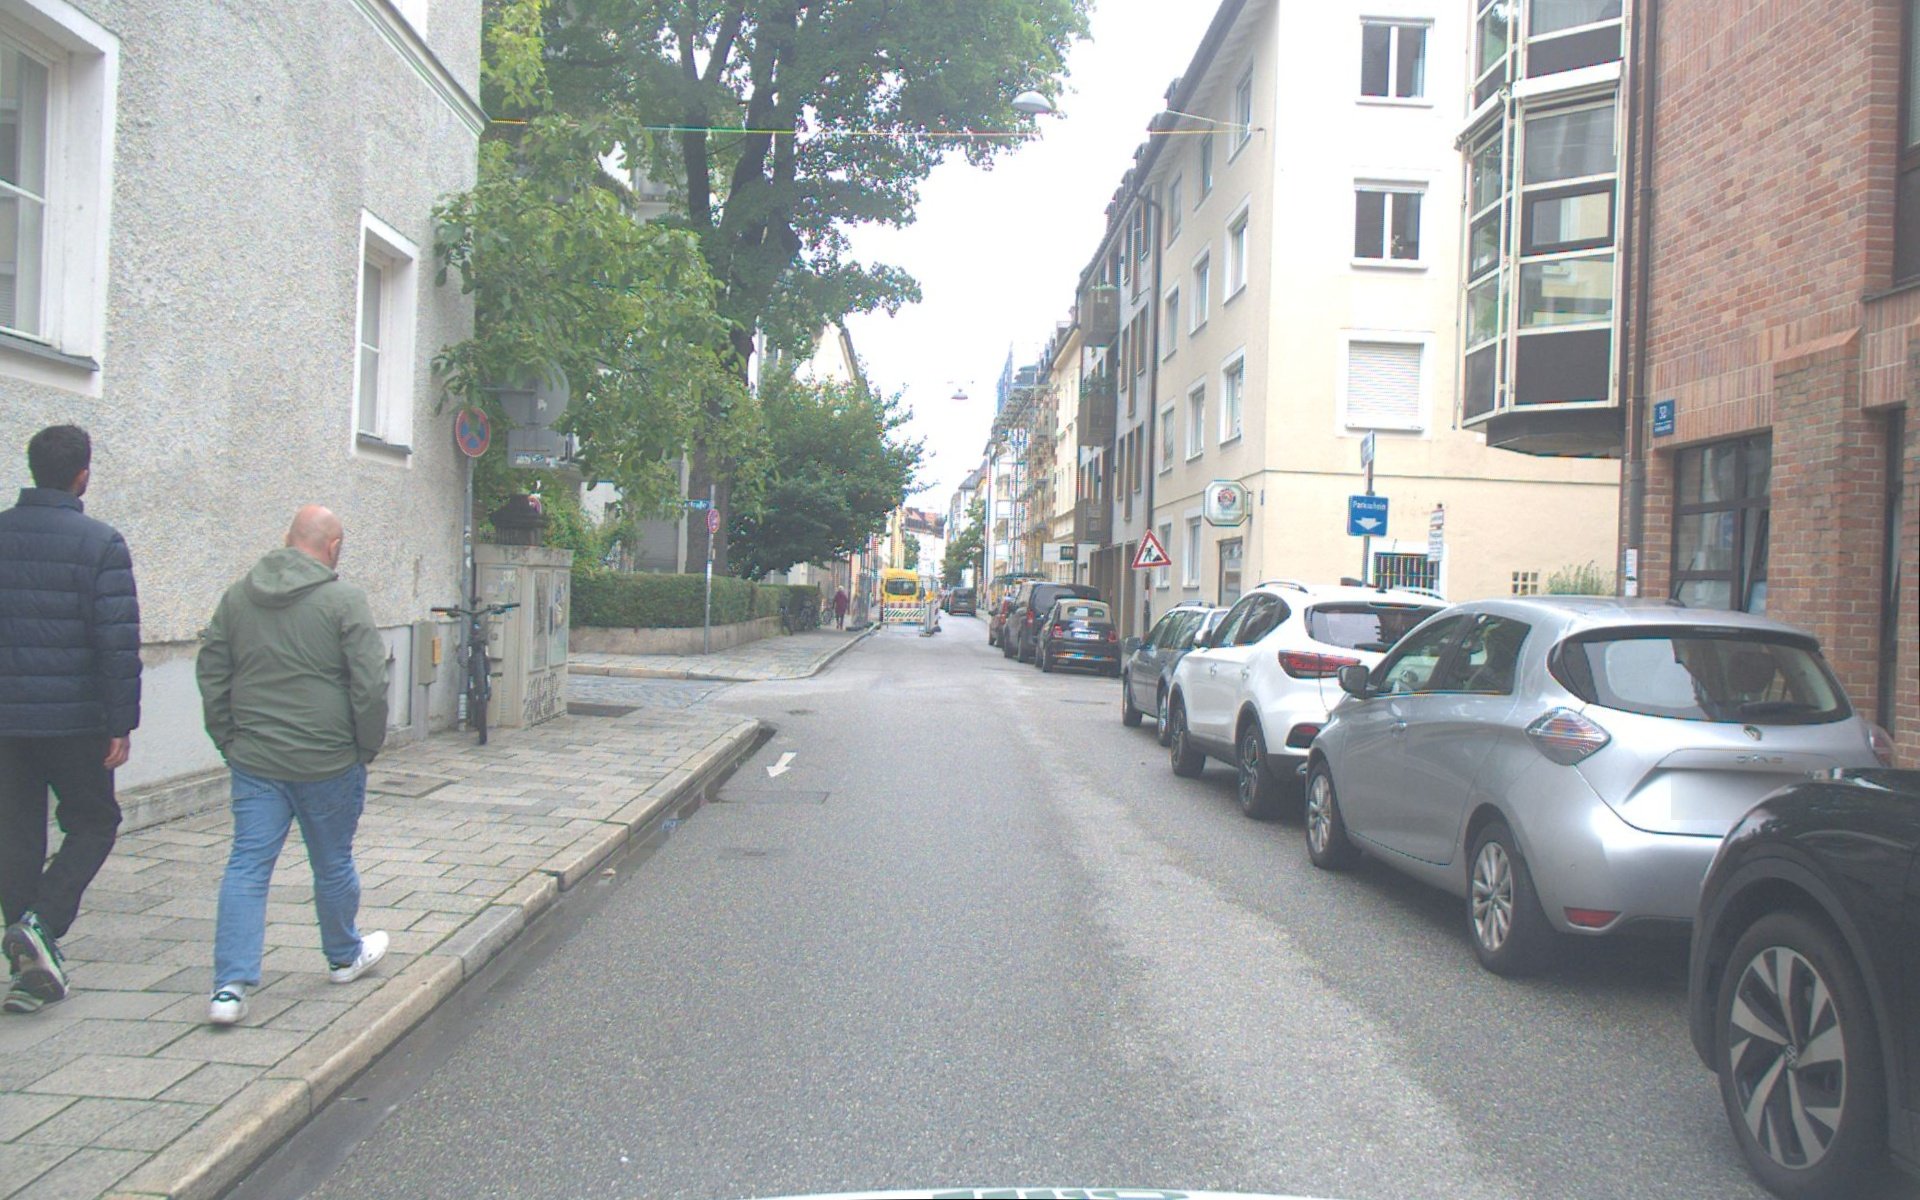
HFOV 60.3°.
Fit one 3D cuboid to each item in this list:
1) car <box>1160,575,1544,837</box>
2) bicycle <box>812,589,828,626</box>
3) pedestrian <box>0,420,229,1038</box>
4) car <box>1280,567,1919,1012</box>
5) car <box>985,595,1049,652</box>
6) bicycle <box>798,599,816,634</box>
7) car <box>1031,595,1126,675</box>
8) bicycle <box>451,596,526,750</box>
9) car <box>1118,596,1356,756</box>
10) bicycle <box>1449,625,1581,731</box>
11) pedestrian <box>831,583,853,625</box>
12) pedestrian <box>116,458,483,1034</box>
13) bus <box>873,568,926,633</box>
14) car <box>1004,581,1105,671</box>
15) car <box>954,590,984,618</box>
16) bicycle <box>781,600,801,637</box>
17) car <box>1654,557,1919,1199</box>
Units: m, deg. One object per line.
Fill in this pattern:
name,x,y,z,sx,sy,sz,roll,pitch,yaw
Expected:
car,2.807,0.685,12.839,1.714,1.658,4.193,2,0,-4
bicycle,-5.540,0.310,65.596,0.504,1.442,1.933,1,0,-2
pedestrian,-2.801,0.358,5.125,0.600,1.743,0.823,4,-1,-2
car,2.953,0.734,8.194,1.687,1.664,3.877,1,0,-5
car,1.726,0.704,51.108,1.603,1.540,3.827,6,0,-2
bicycle,-4.878,0.526,52.808,0.437,1.092,2.466,1,0,-3
car,2.452,0.694,34.883,1.592,1.513,3.807,3,0,-1
bicycle,-3.838,0.556,13.415,0.465,1.130,1.751,3,0,-18
car,2.889,0.733,18.061,1.710,1.470,3.998,3,0,-3
bicycle,6.347,0.876,18.972,0.374,1.098,1.537,3,0,-29
pedestrian,-4.365,0.141,61.215,0.741,1.517,0.831,1,-1,-1
pedestrian,-2.122,0.443,5.448,0.738,1.688,0.906,4,-1,-1
bus,-3.031,0.055,84.771,2.540,3.156,6.304,1,0,-1
car,2.184,0.581,39.237,1.766,1.851,3.997,6,0,-4
car,0.645,0.258,116.847,1.766,1.741,3.824,6,0,-3
bicycle,-4.817,0.522,47.272,0.406,1.038,1.853,1,0,-2
car,3.138,0.740,2.773,1.848,1.582,4.388,3,0,-3
